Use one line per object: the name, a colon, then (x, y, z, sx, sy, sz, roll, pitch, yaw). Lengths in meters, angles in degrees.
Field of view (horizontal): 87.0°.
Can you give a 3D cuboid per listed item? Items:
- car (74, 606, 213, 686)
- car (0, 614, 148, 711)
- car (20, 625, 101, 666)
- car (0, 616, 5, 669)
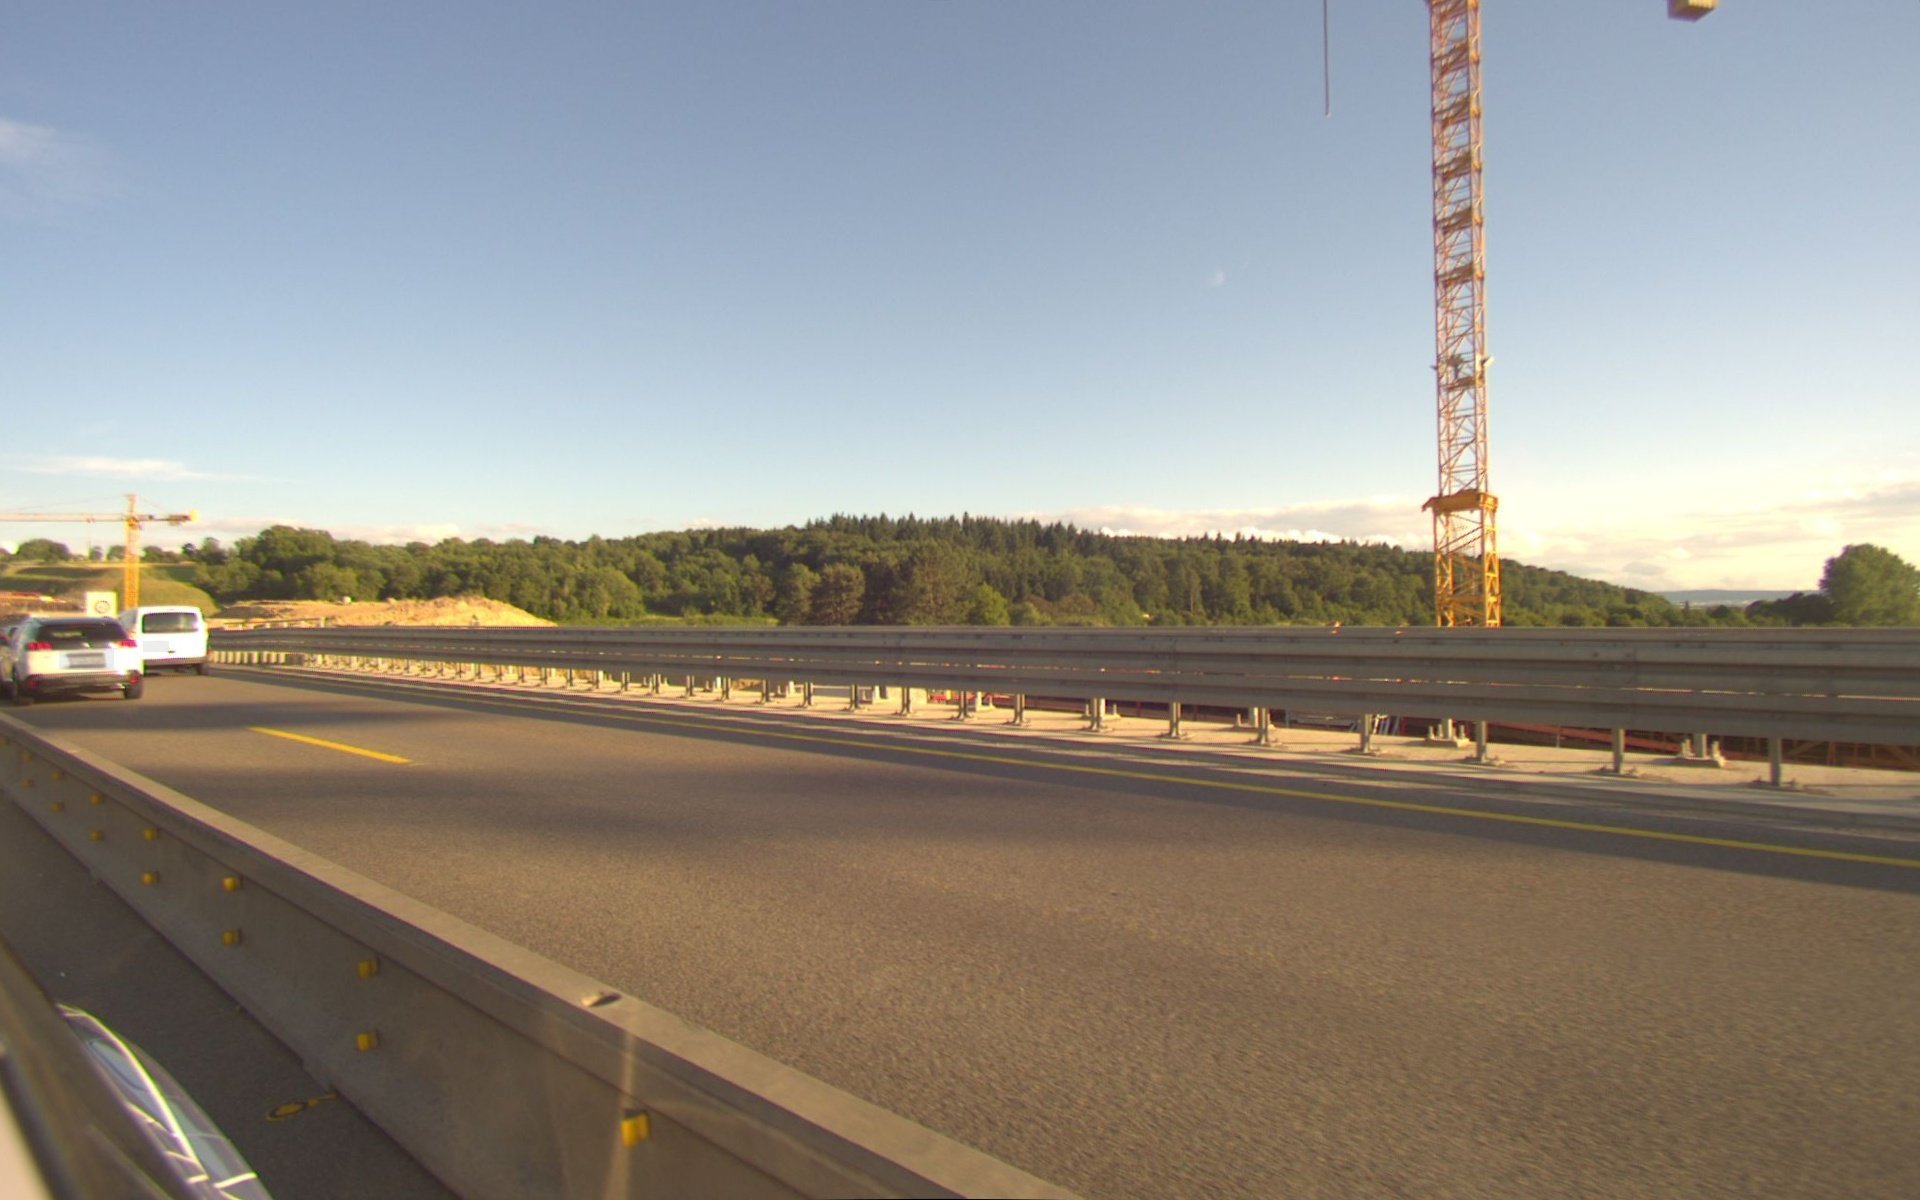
car: (-21.717, 1.168, 26.881, 4.278, 1.870, 1.974, -1, 2, 39)
car: (-17.125, 1.136, 19.339, 3.998, 1.652, 1.819, -2, -2, 41)
car: (-35.695, 1.798, 40.125, 4.287, 1.558, 1.908, -2, -3, 42)
car: (-34.333, 1.490, 34.598, 4.668, 1.767, 1.910, -2, -1, 40)
